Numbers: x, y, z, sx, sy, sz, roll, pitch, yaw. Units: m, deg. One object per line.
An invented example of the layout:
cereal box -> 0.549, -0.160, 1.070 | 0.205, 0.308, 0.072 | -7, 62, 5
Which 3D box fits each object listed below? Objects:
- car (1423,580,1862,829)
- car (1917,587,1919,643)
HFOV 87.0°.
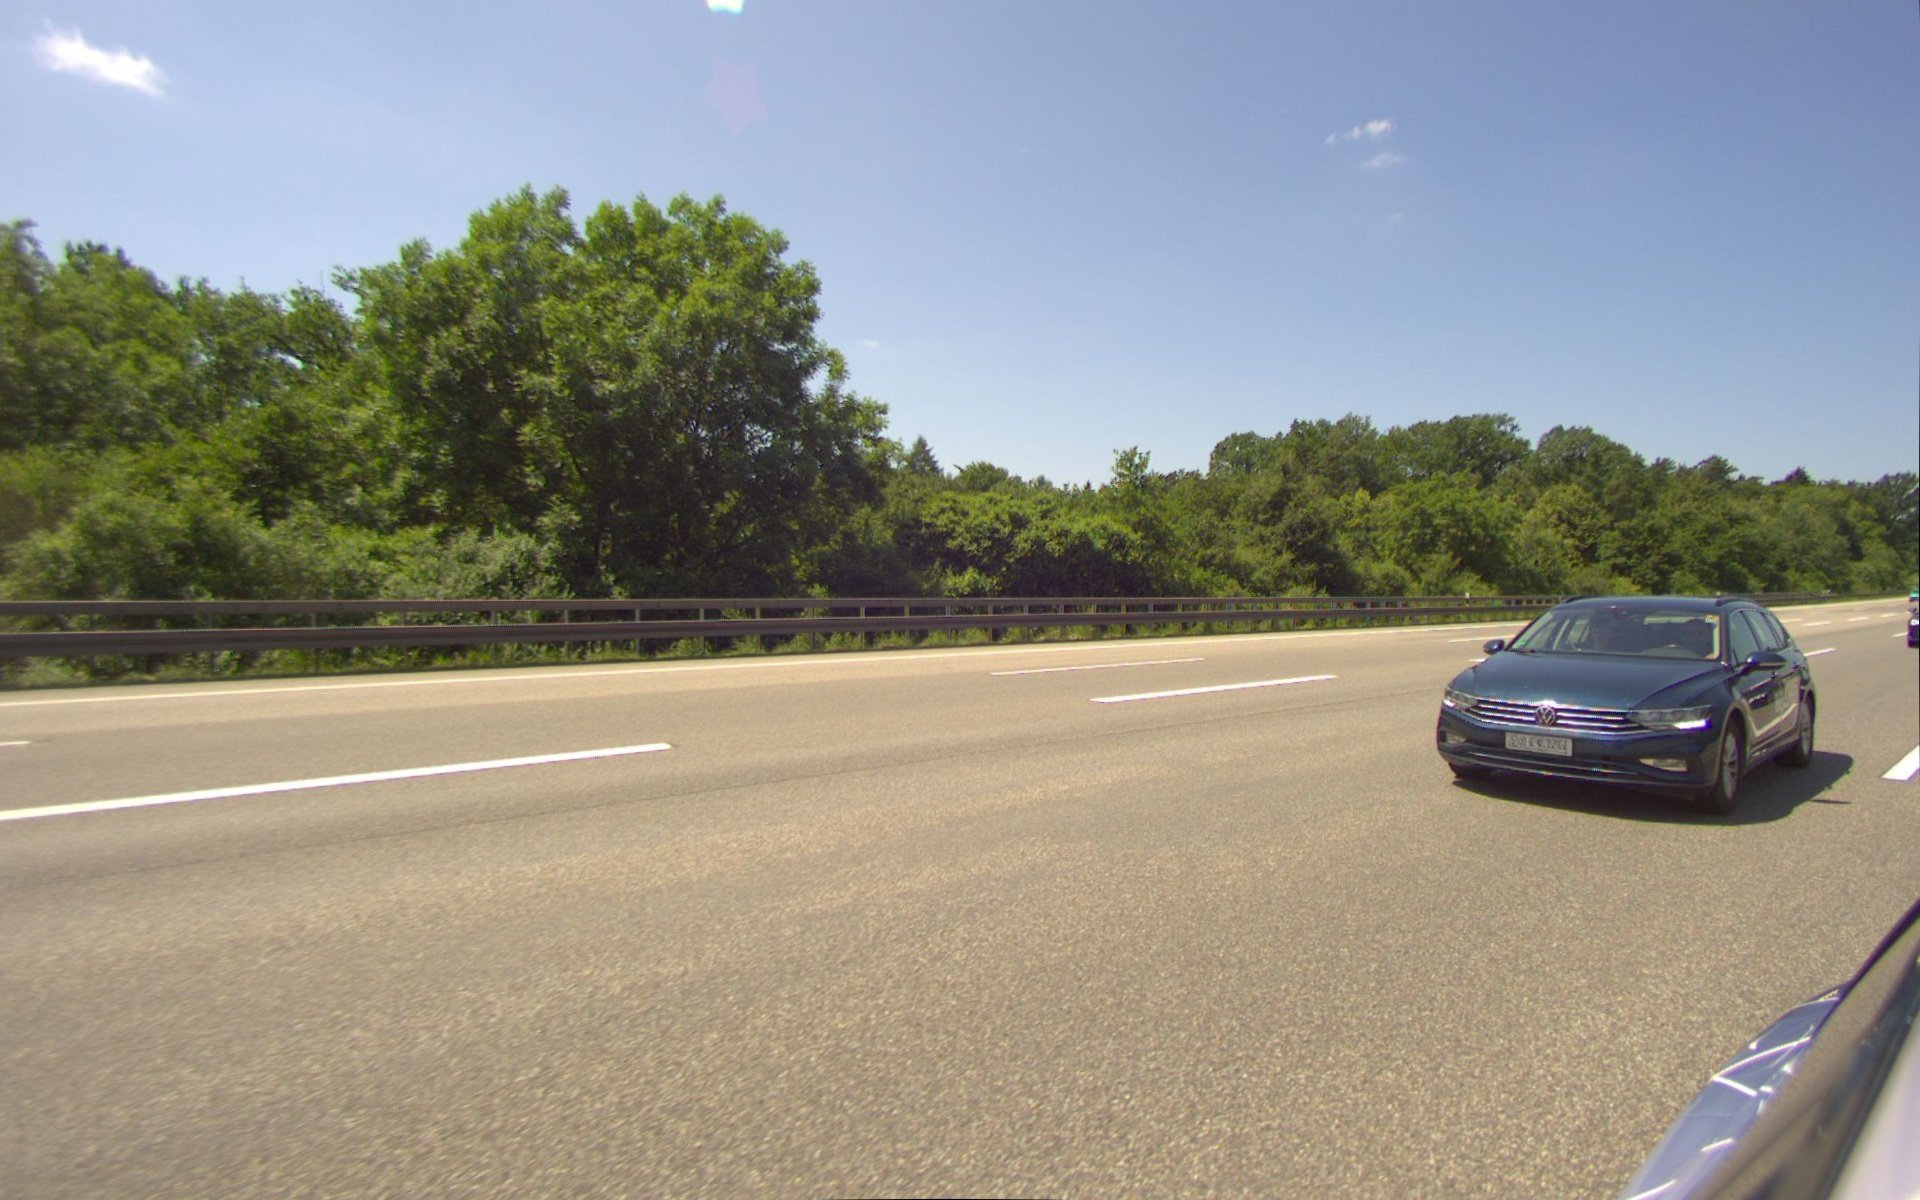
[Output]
car -> 5.808, 0.584, 8.319 | 4.874, 1.465, 1.733 | -1, 2, -40
car -> 27.539, 0.364, 27.517 | 4.131, 1.480, 1.832 | -2, 2, -41
